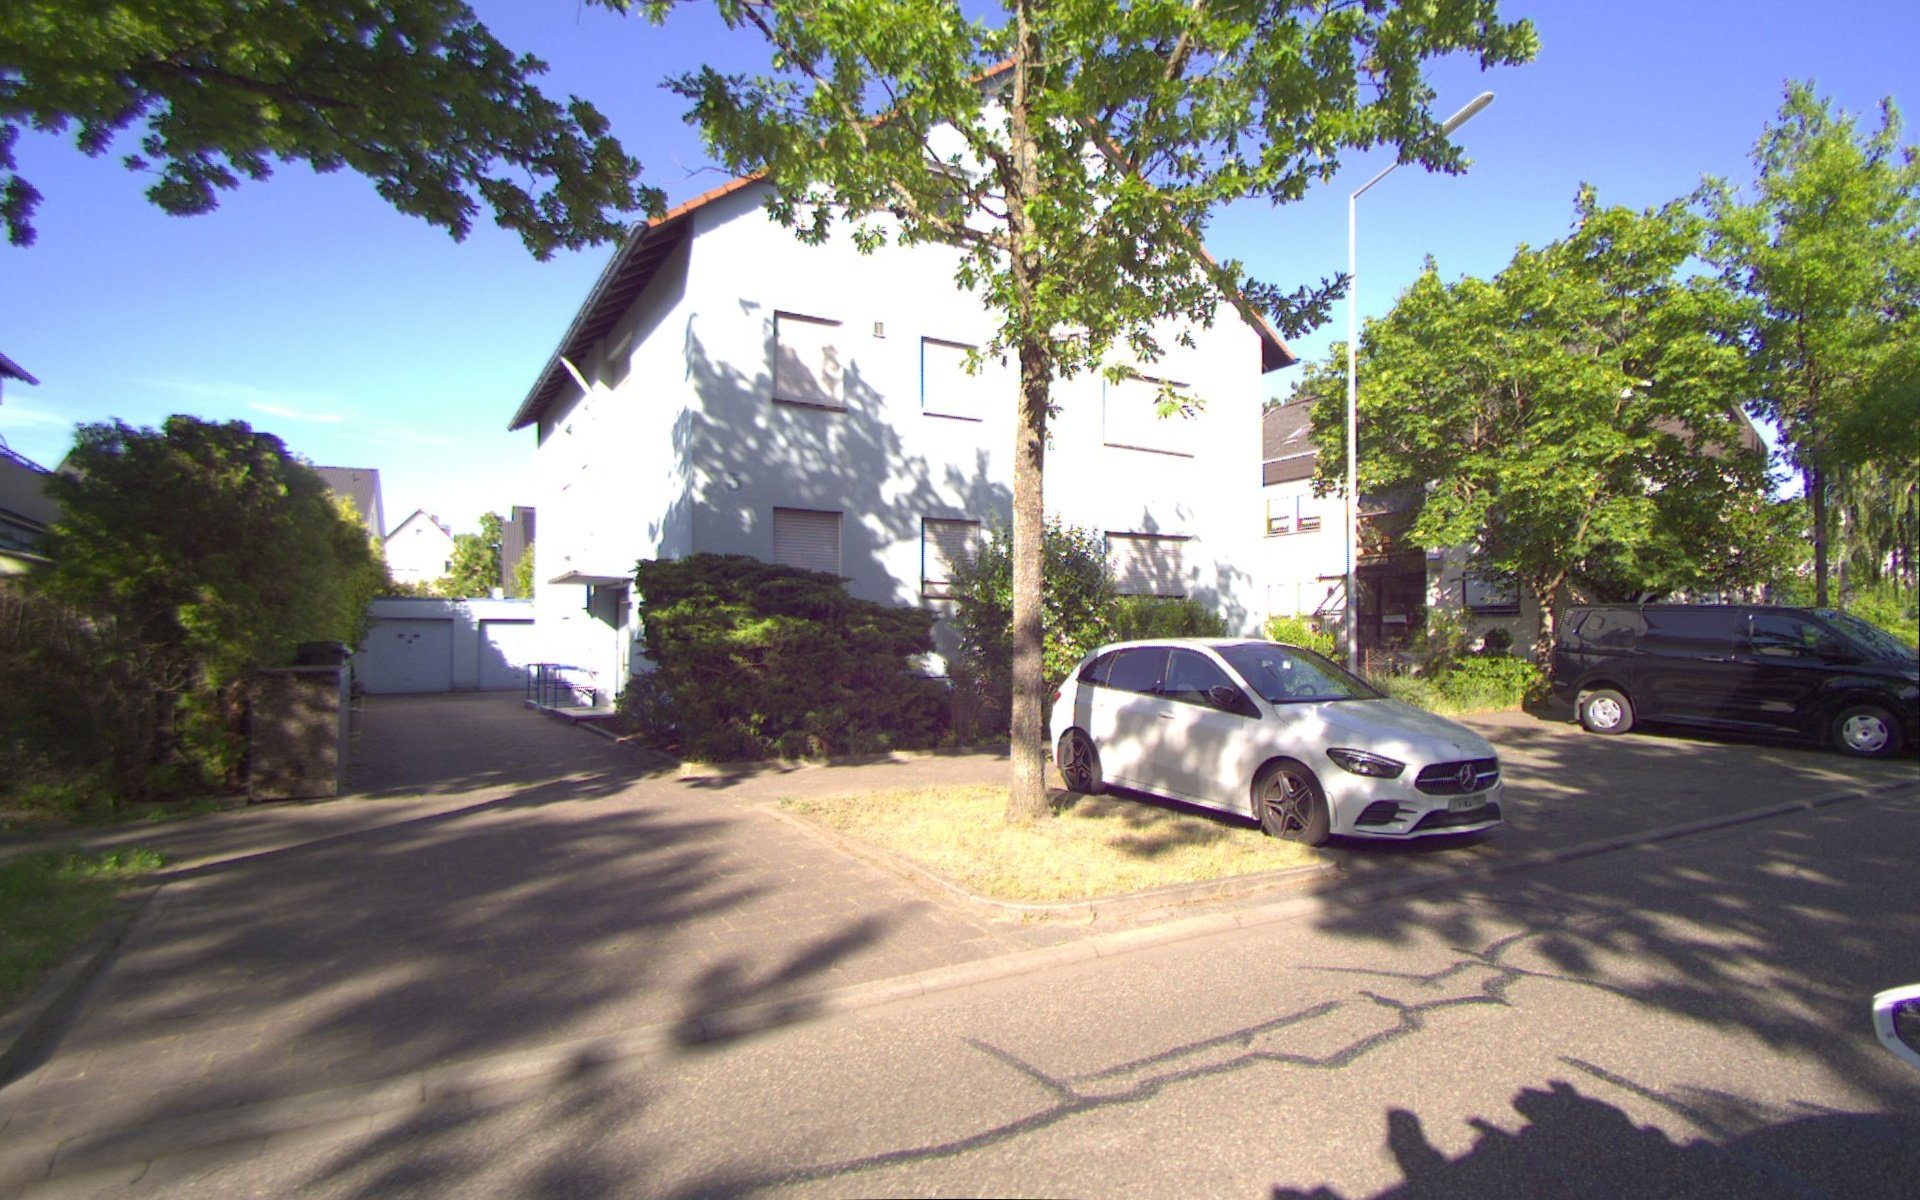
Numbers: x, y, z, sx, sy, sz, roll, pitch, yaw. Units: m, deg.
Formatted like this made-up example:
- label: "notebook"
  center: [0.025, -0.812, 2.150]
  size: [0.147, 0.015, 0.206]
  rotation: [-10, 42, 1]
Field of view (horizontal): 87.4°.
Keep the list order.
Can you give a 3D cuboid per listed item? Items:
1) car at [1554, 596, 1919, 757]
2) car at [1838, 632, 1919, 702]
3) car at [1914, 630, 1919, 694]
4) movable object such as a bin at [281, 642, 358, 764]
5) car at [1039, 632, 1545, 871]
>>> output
- label: "car"
  center: [11.452, 0.979, 14.334]
  size: [1.996, 1.942, 4.755]
  rotation: [1, -1, -31]
- label: "car"
  center: [21.140, 1.422, 21.054]
  size: [1.752, 1.438, 3.799]
  rotation: [1, -1, -31]
- label: "car"
  center: [23.965, 1.420, 22.223]
  size: [1.693, 1.478, 3.841]
  rotation: [1, -1, -29]
- label: "movable object such as a bin"
  center: [-7.622, 1.192, 12.000]
  size: [0.684, 1.369, 1.223]
  rotation: [2, -3, -30]
- label: "car"
  center: [2.599, 1.073, 8.955]
  size: [1.747, 1.497, 4.257]
  rotation: [1, -1, -29]
